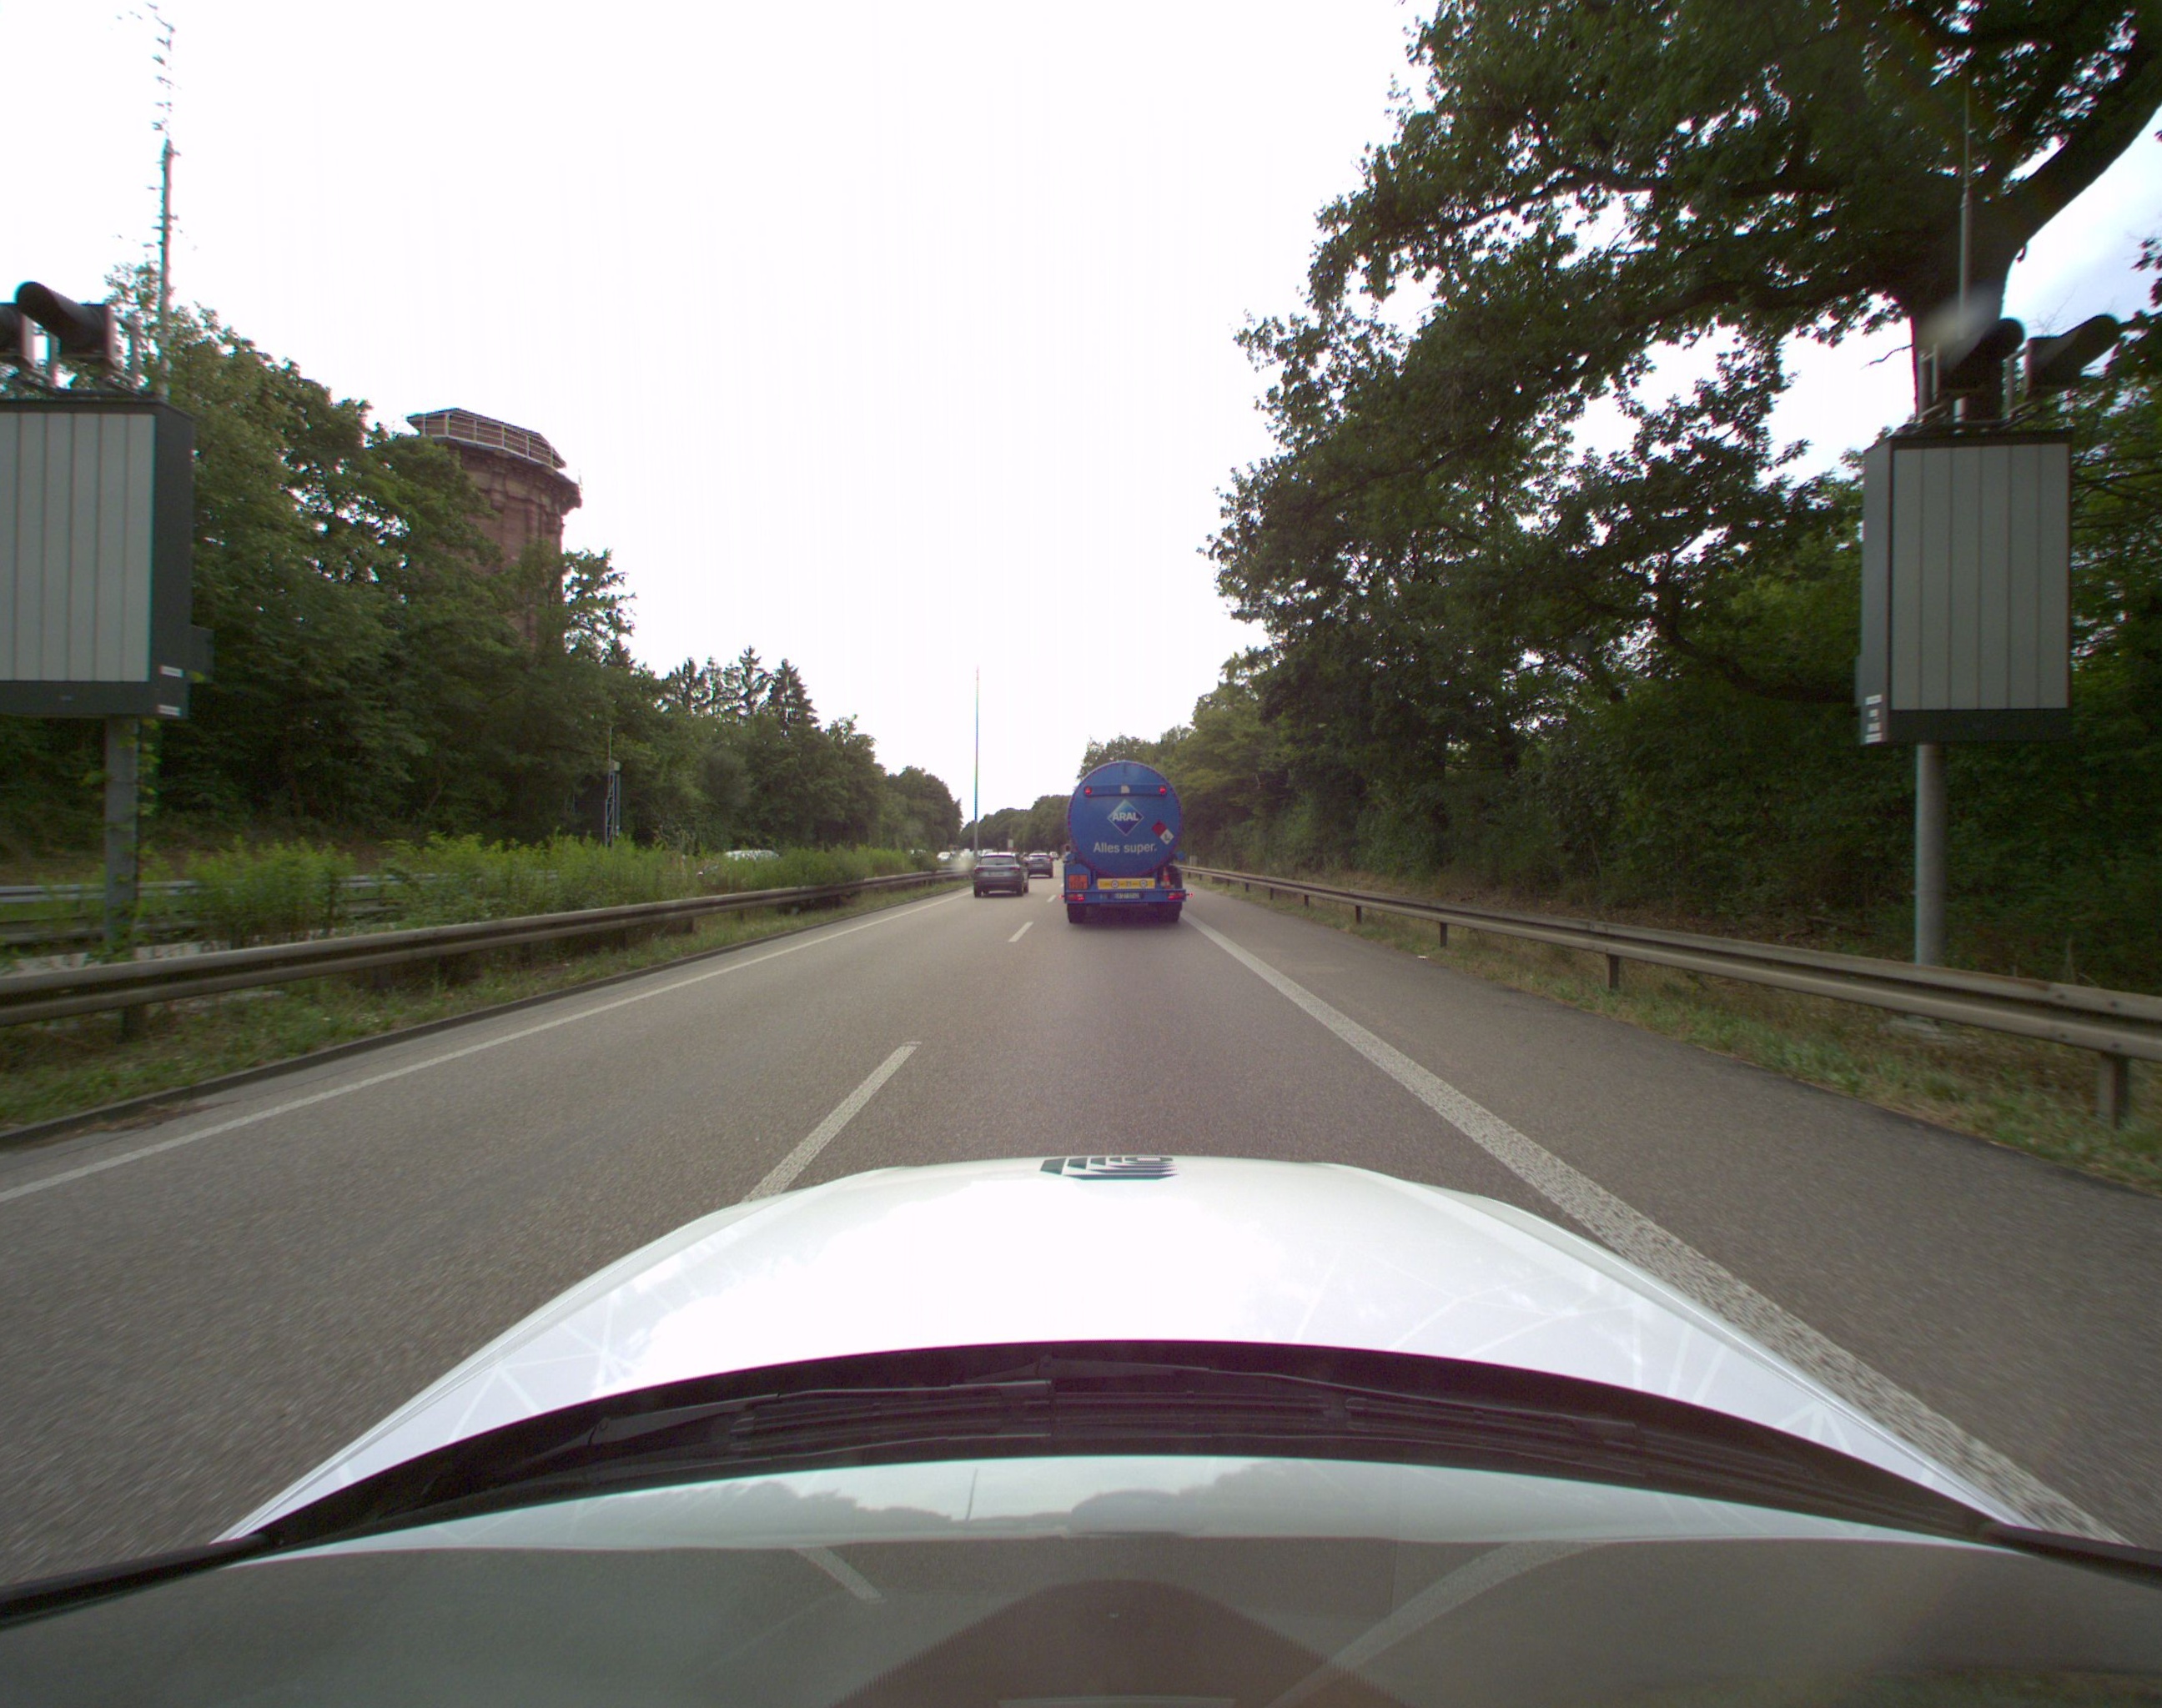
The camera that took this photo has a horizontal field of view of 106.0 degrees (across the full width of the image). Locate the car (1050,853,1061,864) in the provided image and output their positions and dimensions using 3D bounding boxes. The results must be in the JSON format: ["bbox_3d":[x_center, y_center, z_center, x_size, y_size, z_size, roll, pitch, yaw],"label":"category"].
[{"bbox_3d":[-5.270,0.917,166.627,1.990,2.244,3.993,-1,-1,-5],"label":"car"}]

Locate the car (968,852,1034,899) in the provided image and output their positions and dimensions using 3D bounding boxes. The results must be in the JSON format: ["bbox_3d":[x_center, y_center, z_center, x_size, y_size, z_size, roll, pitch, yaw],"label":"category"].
[{"bbox_3d":[-2.904,0.763,30.456,1.819,1.609,4.170,-1,-1,3],"label":"car"}]

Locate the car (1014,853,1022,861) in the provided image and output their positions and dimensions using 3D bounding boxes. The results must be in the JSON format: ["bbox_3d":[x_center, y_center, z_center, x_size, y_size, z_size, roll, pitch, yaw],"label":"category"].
[{"bbox_3d":[-17.854,0.778,230.938,1.990,2.244,3.994,-1,-1,-4],"label":"car"}]

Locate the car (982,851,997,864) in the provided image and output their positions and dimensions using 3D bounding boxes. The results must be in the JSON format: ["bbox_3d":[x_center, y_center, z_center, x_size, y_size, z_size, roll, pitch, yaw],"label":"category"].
[{"bbox_3d":[-13.304,0.520,118.840,1.786,1.836,4.954,-1,-1,-1],"label":"car"}]

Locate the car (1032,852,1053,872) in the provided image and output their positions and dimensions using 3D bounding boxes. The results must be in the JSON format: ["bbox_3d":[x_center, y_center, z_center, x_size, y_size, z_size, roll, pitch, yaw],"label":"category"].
[{"bbox_3d":[-4.196,0.869,88.590,1.987,2.014,4.000,-1,-1,0],"label":"car"}]

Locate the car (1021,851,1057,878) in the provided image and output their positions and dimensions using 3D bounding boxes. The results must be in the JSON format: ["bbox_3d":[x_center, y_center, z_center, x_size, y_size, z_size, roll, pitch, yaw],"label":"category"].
[{"bbox_3d":[-2.612,0.646,51.444,1.819,1.609,4.170,-1,-1,3],"label":"car"}]

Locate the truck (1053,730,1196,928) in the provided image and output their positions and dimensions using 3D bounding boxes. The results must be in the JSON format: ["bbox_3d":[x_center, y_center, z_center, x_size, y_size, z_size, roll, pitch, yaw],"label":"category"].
[{"bbox_3d":[0.934,-0.458,19.861,2.745,3.847,7.689,-1,-1,1],"label":"truck"}]

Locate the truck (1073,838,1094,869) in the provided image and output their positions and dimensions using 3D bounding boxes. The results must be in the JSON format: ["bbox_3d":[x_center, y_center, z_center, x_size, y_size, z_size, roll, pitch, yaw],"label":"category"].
[{"bbox_3d":[0.313,-0.002,84.598,1.986,3.092,7.818,-1,-1,2],"label":"truck"}]

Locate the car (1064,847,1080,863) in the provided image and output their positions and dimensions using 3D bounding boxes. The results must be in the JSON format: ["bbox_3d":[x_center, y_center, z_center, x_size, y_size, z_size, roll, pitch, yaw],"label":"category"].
[{"bbox_3d":[-1.380,0.125,118.312,1.990,2.244,3.993,-1,-1,-5],"label":"car"}]
